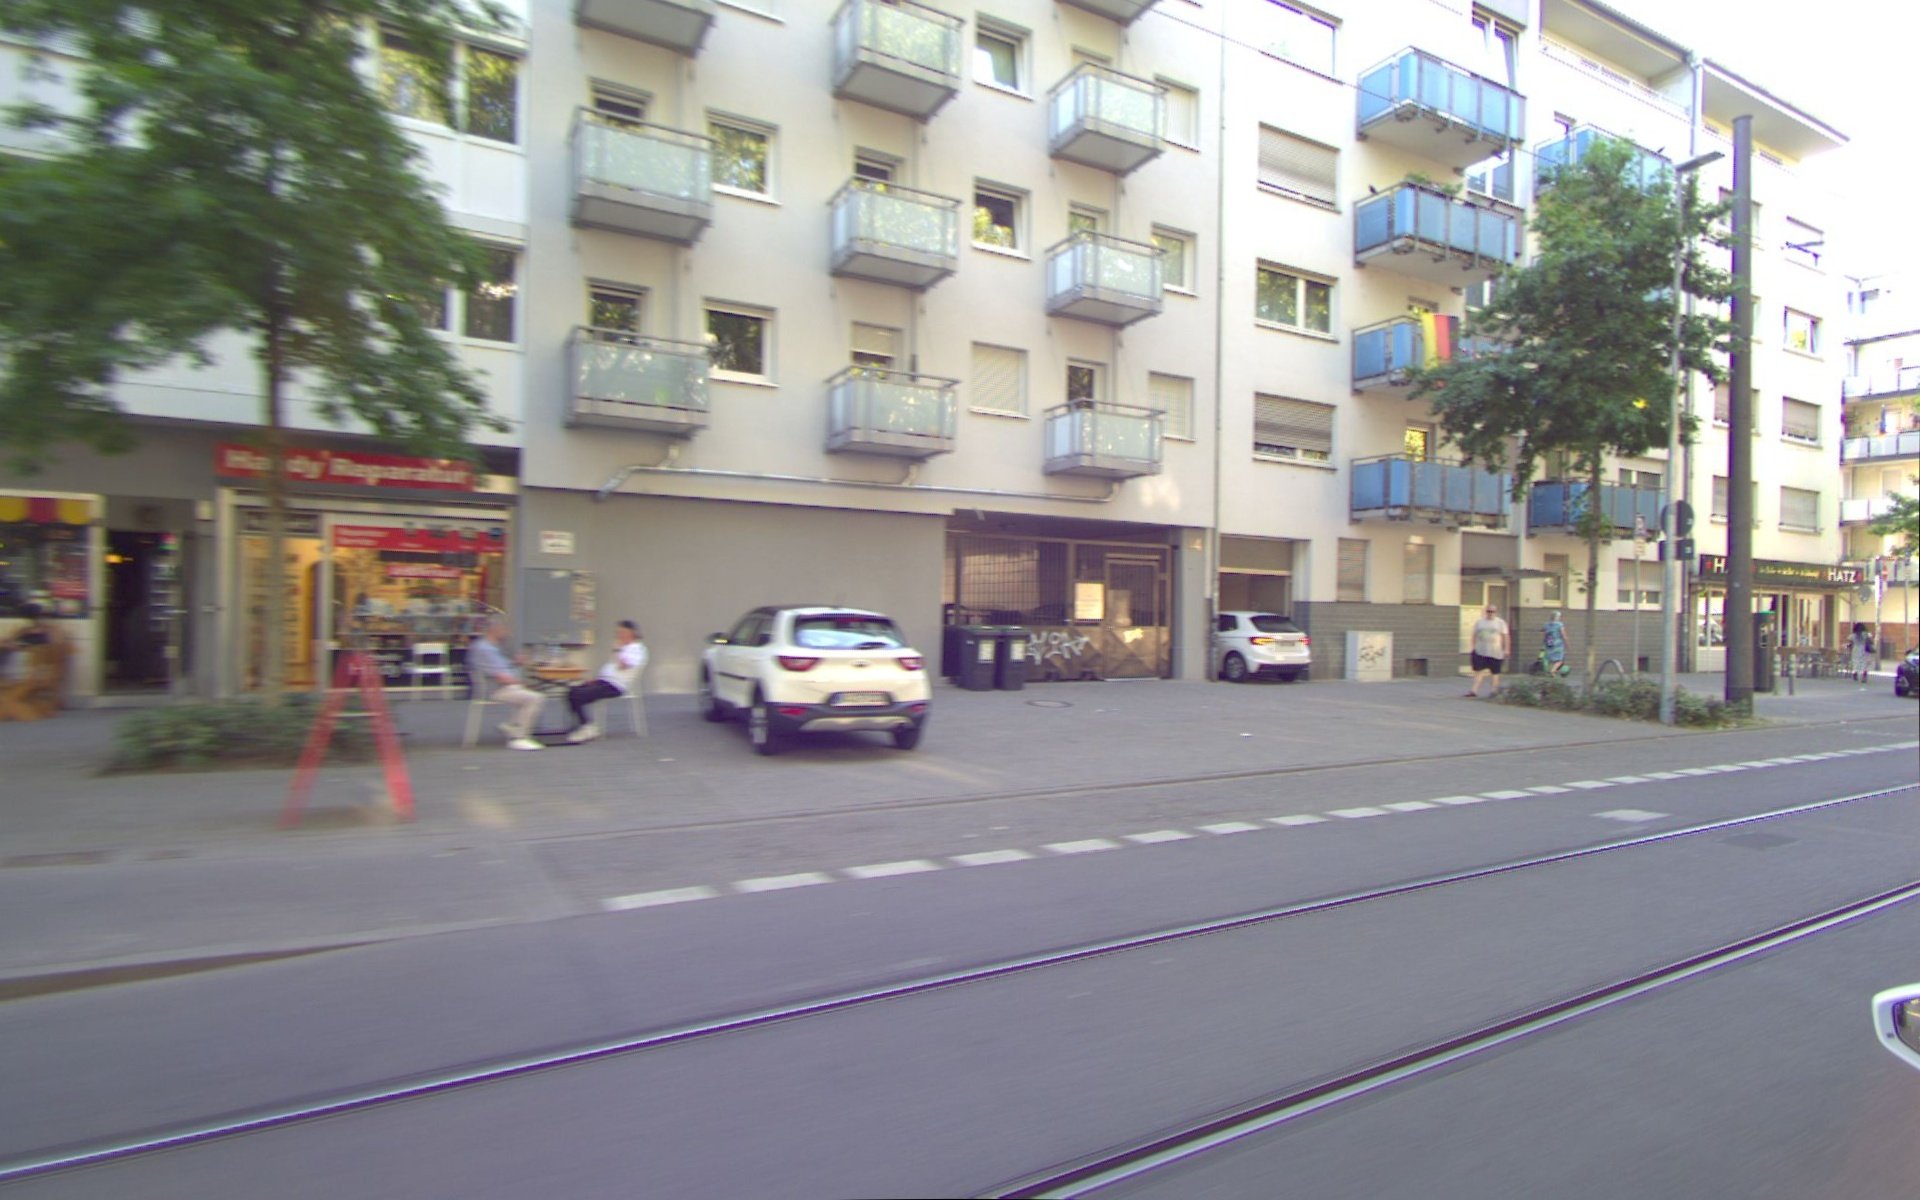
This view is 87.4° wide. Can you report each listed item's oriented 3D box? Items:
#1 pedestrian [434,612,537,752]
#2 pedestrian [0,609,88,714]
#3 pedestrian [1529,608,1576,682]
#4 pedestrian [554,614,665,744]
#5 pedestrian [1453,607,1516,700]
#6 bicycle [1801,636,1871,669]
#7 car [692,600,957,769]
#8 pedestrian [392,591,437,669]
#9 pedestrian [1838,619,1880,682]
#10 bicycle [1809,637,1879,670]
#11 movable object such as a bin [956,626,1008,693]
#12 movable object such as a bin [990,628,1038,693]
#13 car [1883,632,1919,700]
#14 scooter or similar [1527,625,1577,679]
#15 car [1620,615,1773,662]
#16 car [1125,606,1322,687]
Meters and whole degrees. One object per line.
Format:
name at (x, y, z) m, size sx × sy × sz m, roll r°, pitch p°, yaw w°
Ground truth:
pedestrian at (-4.709, 0.786, 9.966) m, size 0.742 × 1.314 × 0.705 m, roll 1°, pitch -1°, yaw -42°
pedestrian at (-11.006, 0.722, 12.064) m, size 0.647 × 1.214 × 0.669 m, roll 1°, pitch -1°, yaw -29°
pedestrian at (14.024, 1.044, 23.787) m, size 0.740 × 1.713 × 0.660 m, roll 1°, pitch 0°, yaw -30°
pedestrian at (-3.765, 0.820, 10.801) m, size 0.905 × 1.314 × 0.705 m, roll 2°, pitch -1°, yaw -42°
pedestrian at (9.982, 1.004, 19.121) m, size 0.785 × 1.713 × 0.760 m, roll 1°, pitch 0°, yaw -30°
bicycle at (32.125, 1.921, 36.876) m, size 0.562 × 1.172 × 1.946 m, roll 1°, pitch -2°, yaw -14°
car at (-1.729, 0.805, 11.424) m, size 1.827 × 1.495 × 3.999 m, roll 2°, pitch 0°, yaw -26°
pedestrian at (-8.640, 0.478, 15.910) m, size 0.556 × 1.214 × 0.510 m, roll 1°, pitch -1°, yaw -23°
pedestrian at (25.031, 1.389, 27.979) m, size 0.740 × 1.713 × 0.660 m, roll 1°, pitch 0°, yaw -30°
bicycle at (32.517, 1.967, 36.986) m, size 0.562 × 1.172 × 1.946 m, roll 1°, pitch -2°, yaw -14°
movable object such as a bin at (0.361, 0.984, 16.818) m, size 0.614 × 1.069 × 0.675 m, roll 1°, pitch -1°, yaw -27°
movable object such as a bin at (0.914, 1.016, 17.121) m, size 0.567 × 1.069 × 0.670 m, roll 1°, pitch -1°, yaw -27°
car at (23.342, 1.562, 23.532) m, size 3.961 × 1.484 × 1.701 m, roll 2°, pitch 2°, yaw -36°
scooter or similar at (14.745, 1.289, 25.015) m, size 1.218 × 1.306 × 0.374 m, roll 1°, pitch -2°, yaw -22°
car at (31.178, 1.592, 42.684) m, size 2.016 × 1.846 × 4.847 m, roll 1°, pitch -1°, yaw -32°
car at (5.601, 0.948, 21.795) m, size 1.830 × 1.495 × 3.992 m, roll 2°, pitch 0°, yaw -30°
